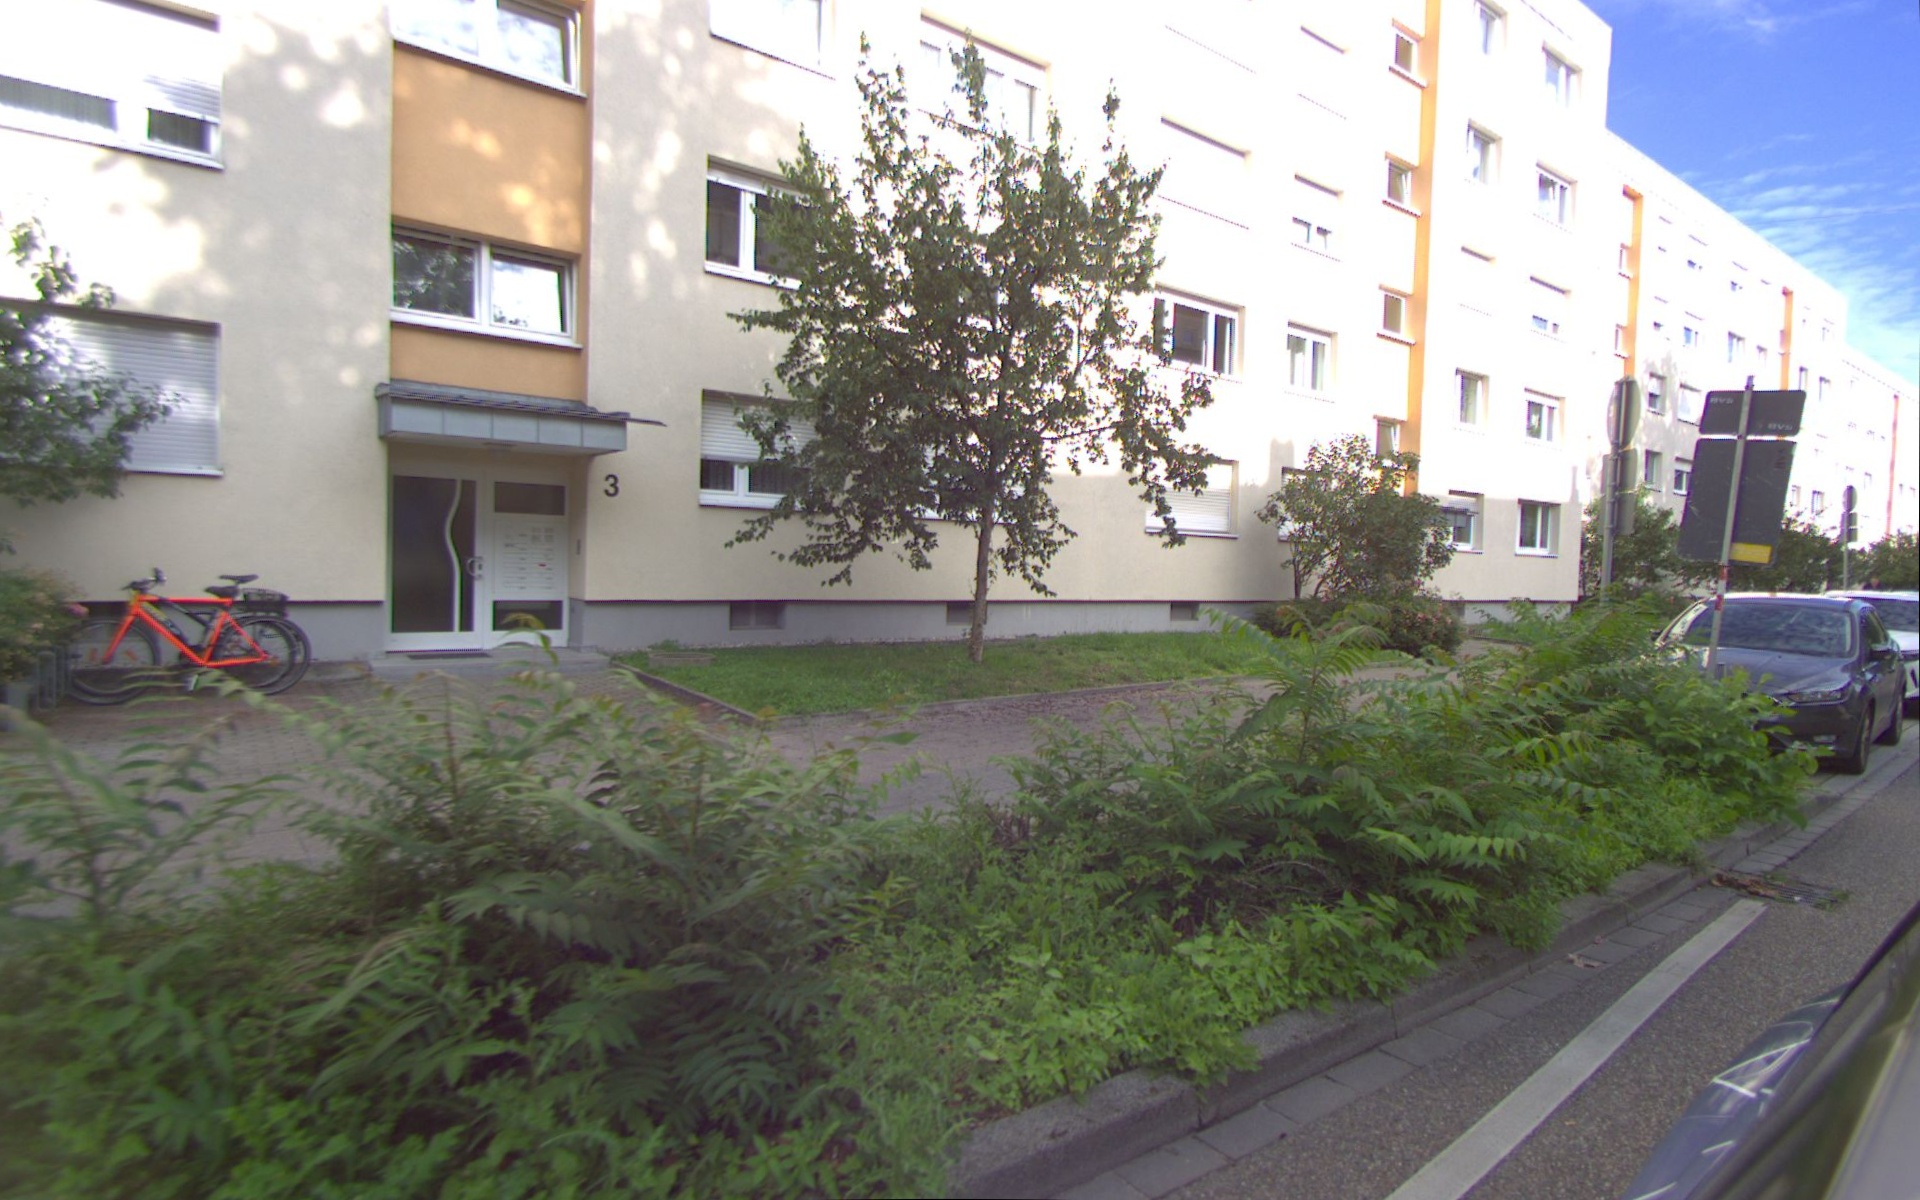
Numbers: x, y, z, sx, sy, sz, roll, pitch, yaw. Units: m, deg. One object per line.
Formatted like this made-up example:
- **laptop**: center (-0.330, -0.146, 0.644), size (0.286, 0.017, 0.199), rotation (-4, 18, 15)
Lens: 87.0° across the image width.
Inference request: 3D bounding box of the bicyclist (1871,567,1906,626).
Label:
- **bicyclist**: center (27.580, -0.107, 30.071), size (0.877, 1.698, 0.624), rotation (0, 2, -41)

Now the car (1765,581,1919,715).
- **car**: center (12.711, 0.561, 13.849), size (4.160, 1.547, 1.695), rotation (0, 3, -38)

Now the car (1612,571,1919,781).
- **car**: center (7.957, 0.552, 9.783), size (4.165, 1.547, 1.693), rotation (0, 4, -42)

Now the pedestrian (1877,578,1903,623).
- **pedestrian**: center (36.775, 0.012, 40.027), size (0.757, 1.742, 0.544), rotation (0, 2, -35)

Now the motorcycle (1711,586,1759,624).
- **motorcycle**: center (23.041, 0.139, 30.077), size (2.352, 1.057, 0.632), rotation (0, 4, -42)

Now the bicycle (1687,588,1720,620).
- **bicycle**: center (22.922, 0.114, 31.187), size (1.490, 0.953, 0.459), rotation (0, 4, -42)

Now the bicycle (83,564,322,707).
- **bicycle**: center (-6.173, 0.252, 8.297), size (1.527, 1.069, 0.522), rotation (0, 2, -44)

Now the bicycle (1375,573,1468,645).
- **bicycle**: center (8.493, 0.147, 18.590), size (2.170, 1.200, 0.599), rotation (0, 6, -41)

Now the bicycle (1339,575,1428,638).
- **bicycle**: center (8.105, 0.106, 19.341), size (2.170, 1.128, 0.598), rotation (0, 4, -41)

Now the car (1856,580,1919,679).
- **car**: center (17.008, 0.505, 17.668), size (3.408, 1.575, 1.554), rotation (0, 4, -41)

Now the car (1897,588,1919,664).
- **car**: center (20.097, 0.529, 20.412), size (3.616, 1.415, 1.517), rotation (-1, 4, -45)

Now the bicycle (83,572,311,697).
- **bicycle**: center (-6.535, 0.264, 8.718), size (1.527, 0.975, 0.478), rotation (0, 2, -44)
